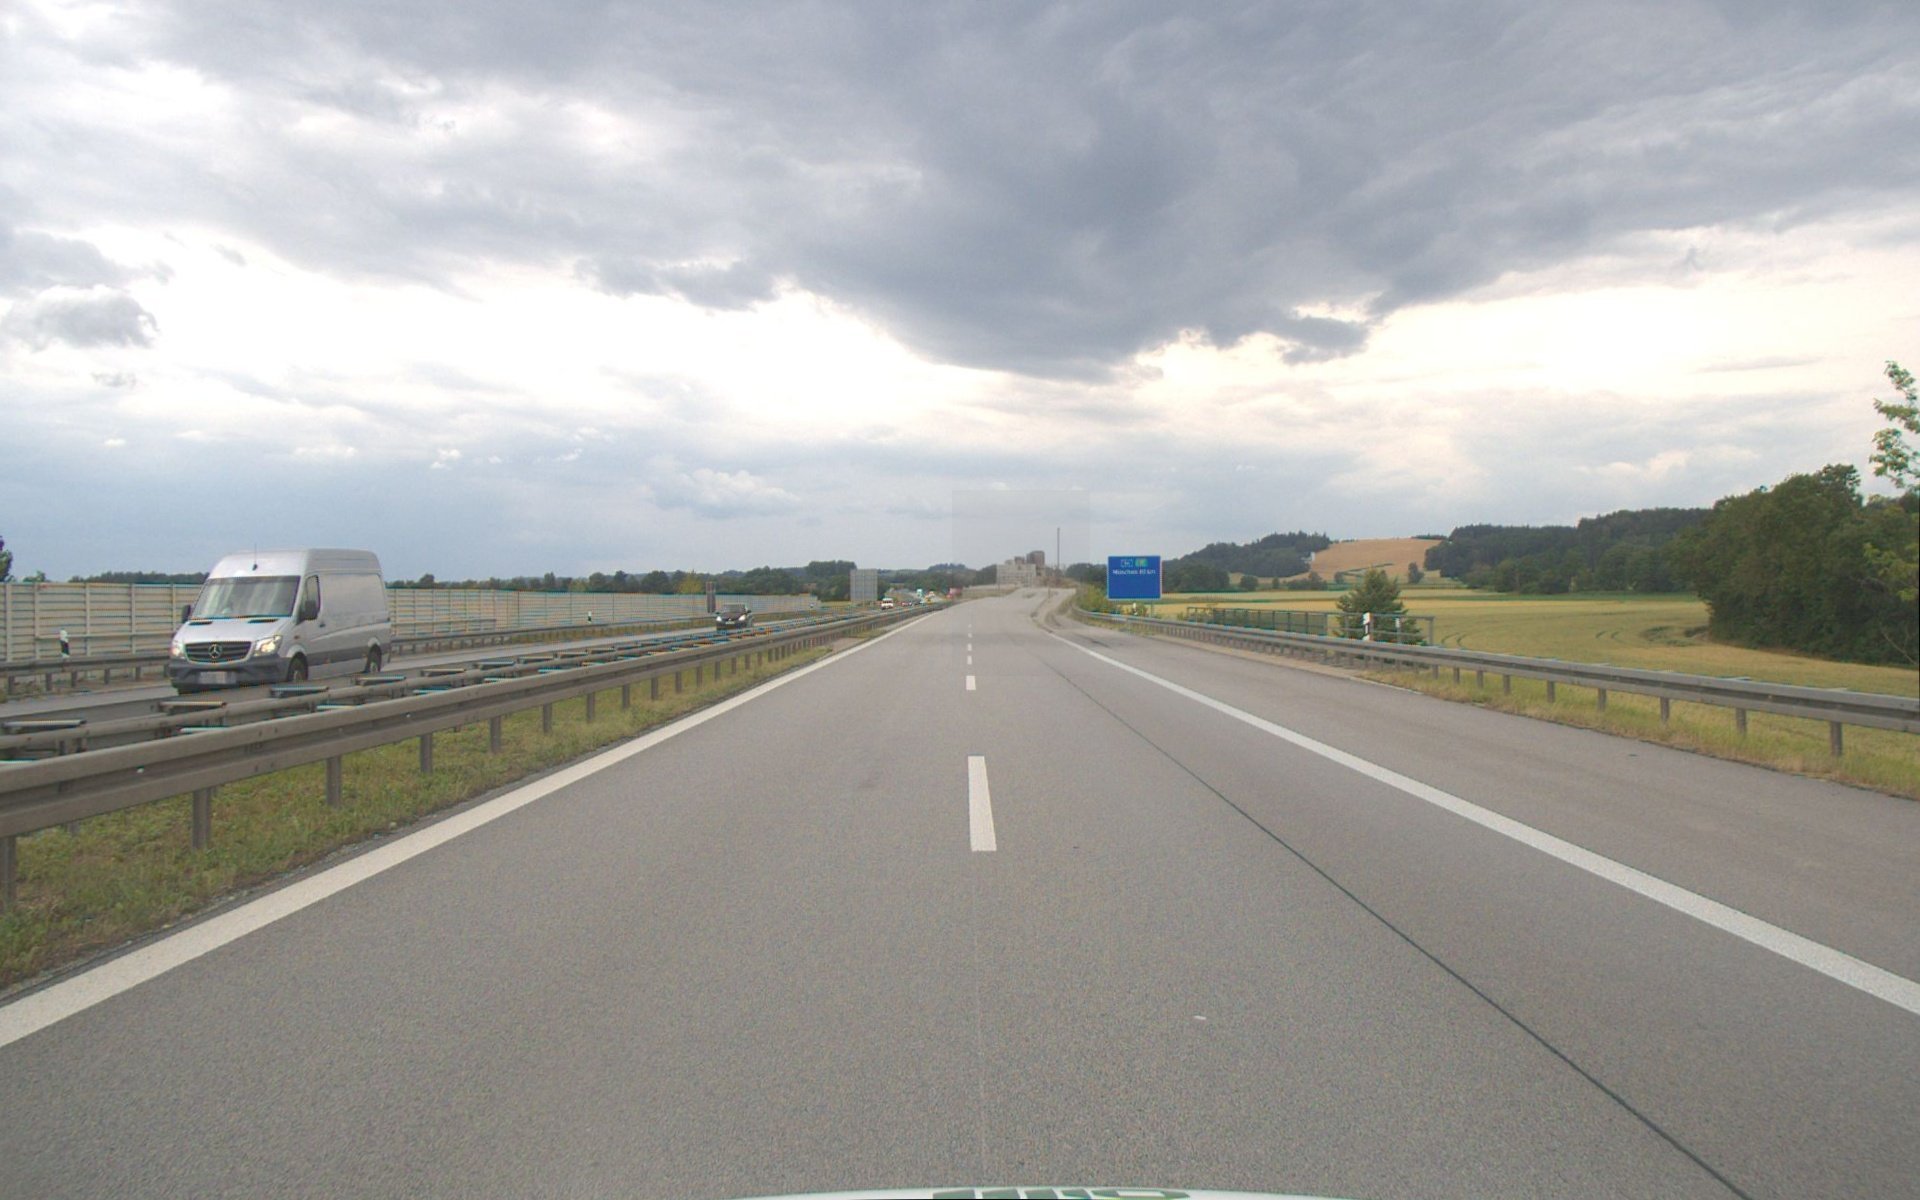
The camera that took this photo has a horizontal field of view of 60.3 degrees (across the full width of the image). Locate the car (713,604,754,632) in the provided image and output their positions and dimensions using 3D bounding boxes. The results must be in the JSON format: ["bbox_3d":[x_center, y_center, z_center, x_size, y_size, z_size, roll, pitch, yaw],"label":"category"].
[{"bbox_3d":[-12.278,0.944,89.748,1.636,1.410,4.000,-2,0,0],"label":"car"}]

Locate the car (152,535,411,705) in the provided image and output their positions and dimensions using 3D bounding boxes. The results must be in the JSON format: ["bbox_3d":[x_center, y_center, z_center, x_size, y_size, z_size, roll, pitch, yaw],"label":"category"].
[{"bbox_3d":[-12.146,0.329,30.209,2.028,2.648,6.288,-4,0,0],"label":"car"}]

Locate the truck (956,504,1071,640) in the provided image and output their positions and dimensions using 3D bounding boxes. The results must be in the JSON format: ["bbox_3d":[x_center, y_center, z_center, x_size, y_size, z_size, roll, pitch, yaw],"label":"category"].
[{"bbox_3d":[1.762,-0.961,63.018,3.598,4.489,16.338,0,0,-1],"label":"truck"}]

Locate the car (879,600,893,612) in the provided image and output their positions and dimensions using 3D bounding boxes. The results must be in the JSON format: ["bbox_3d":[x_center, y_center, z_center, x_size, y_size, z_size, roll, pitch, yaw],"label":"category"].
[{"bbox_3d":[-10.950,0.876,244.111,1.720,1.772,4.913,-3,0,0],"label":"car"}]
